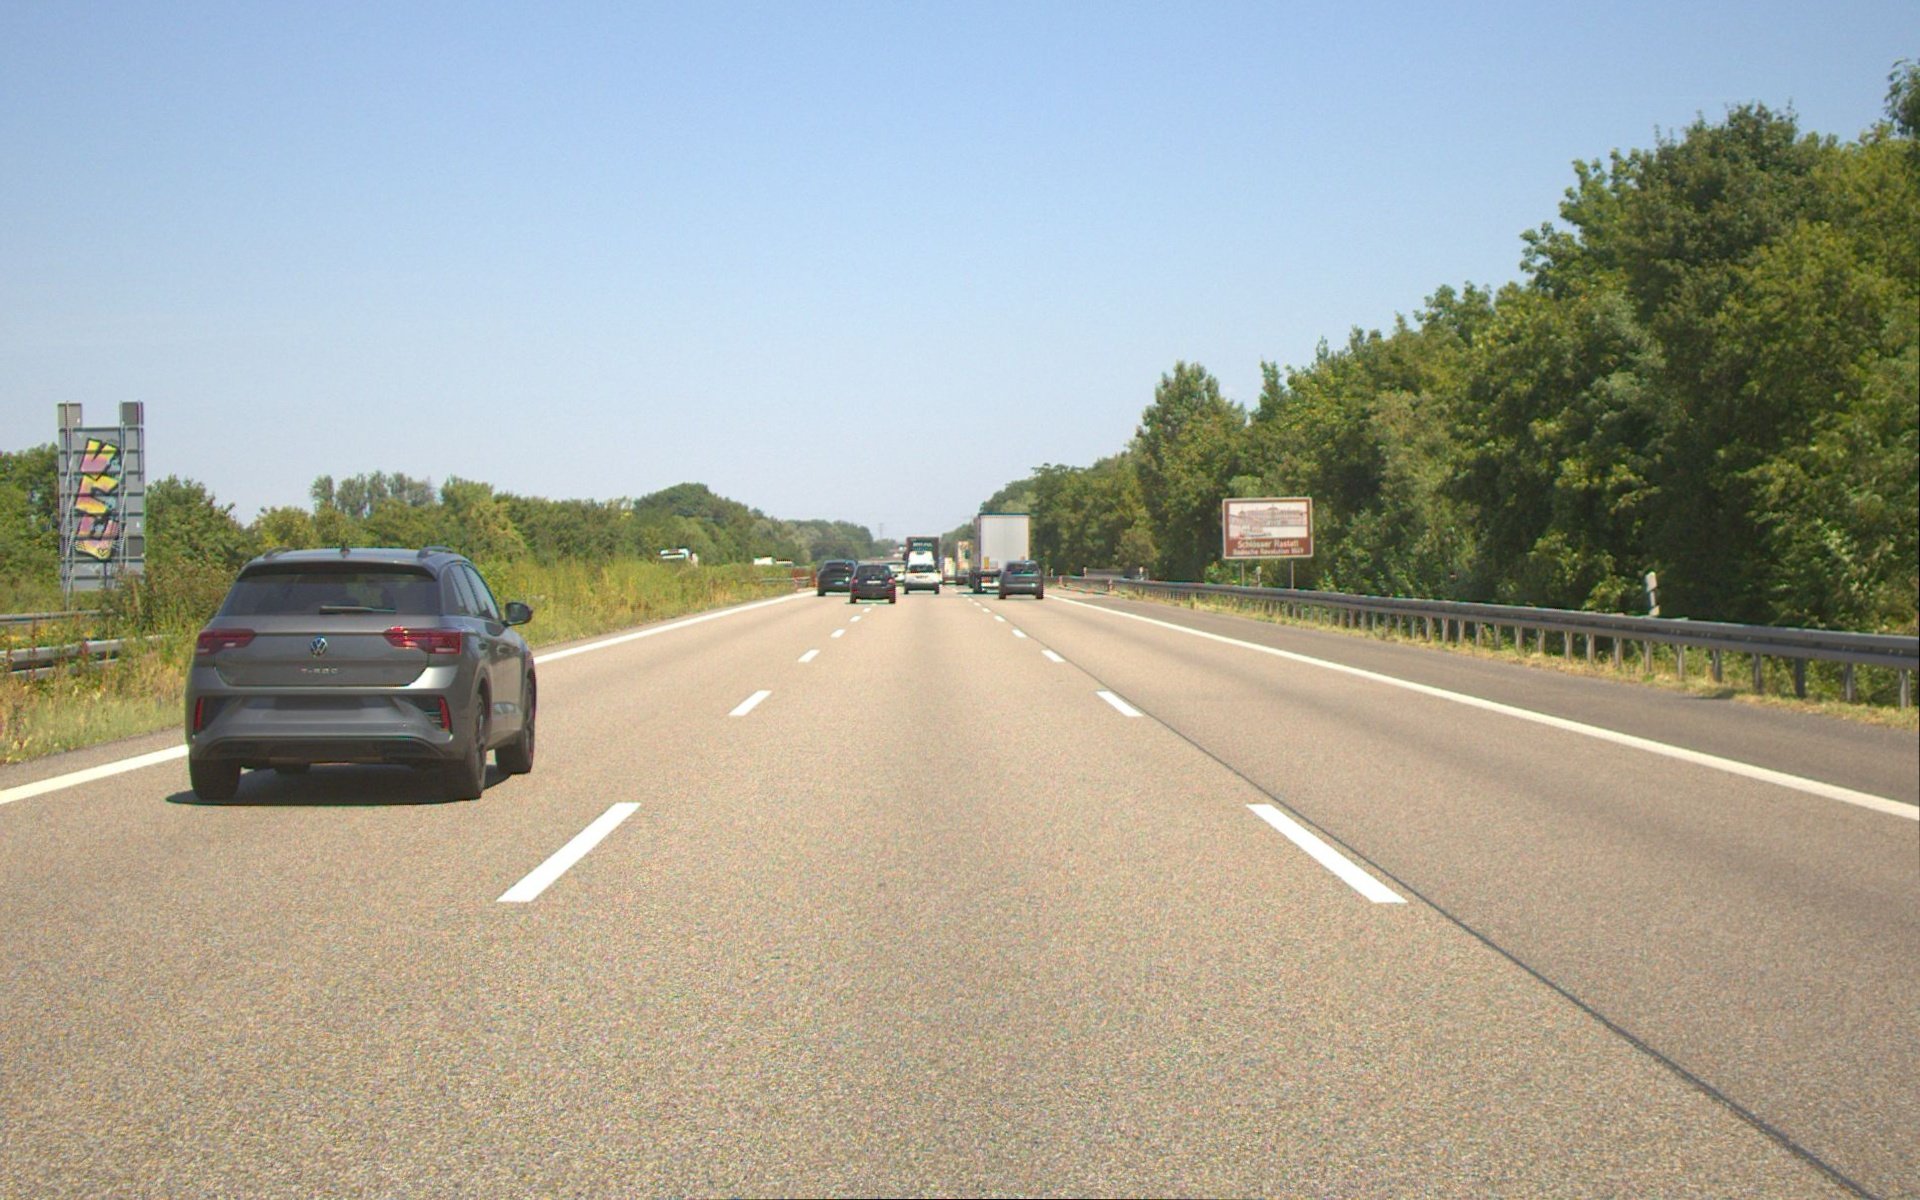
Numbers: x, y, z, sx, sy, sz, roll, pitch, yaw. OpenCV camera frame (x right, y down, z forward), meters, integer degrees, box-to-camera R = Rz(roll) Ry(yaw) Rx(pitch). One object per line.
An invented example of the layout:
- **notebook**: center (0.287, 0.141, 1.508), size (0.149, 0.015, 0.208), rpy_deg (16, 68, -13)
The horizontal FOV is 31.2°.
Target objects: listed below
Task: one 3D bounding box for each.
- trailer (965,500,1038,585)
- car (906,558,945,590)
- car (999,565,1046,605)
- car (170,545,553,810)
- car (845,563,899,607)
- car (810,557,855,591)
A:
- **trailer**: center (2.079, -2.884, 177.421), size (3.434, 4.167, 13.632), rpy_deg (1, 0, 0)
- **car**: center (-1.722, -1.320, 173.033), size (1.900, 1.526, 4.084), rpy_deg (1, 1, -1)
- **car**: center (2.614, -0.644, 144.880), size (1.845, 1.623, 4.135), rpy_deg (-1, 0, 0)
- **car**: center (-3.753, 0.420, 22.256), size (1.759, 1.526, 4.285), rpy_deg (1, 1, -1)
- **car**: center (-3.208, -0.561, 126.423), size (1.900, 1.526, 4.084), rpy_deg (1, 1, -1)
- **car**: center (-5.876, -1.201, 158.906), size (1.907, 1.526, 4.285), rpy_deg (1, 1, -1)
